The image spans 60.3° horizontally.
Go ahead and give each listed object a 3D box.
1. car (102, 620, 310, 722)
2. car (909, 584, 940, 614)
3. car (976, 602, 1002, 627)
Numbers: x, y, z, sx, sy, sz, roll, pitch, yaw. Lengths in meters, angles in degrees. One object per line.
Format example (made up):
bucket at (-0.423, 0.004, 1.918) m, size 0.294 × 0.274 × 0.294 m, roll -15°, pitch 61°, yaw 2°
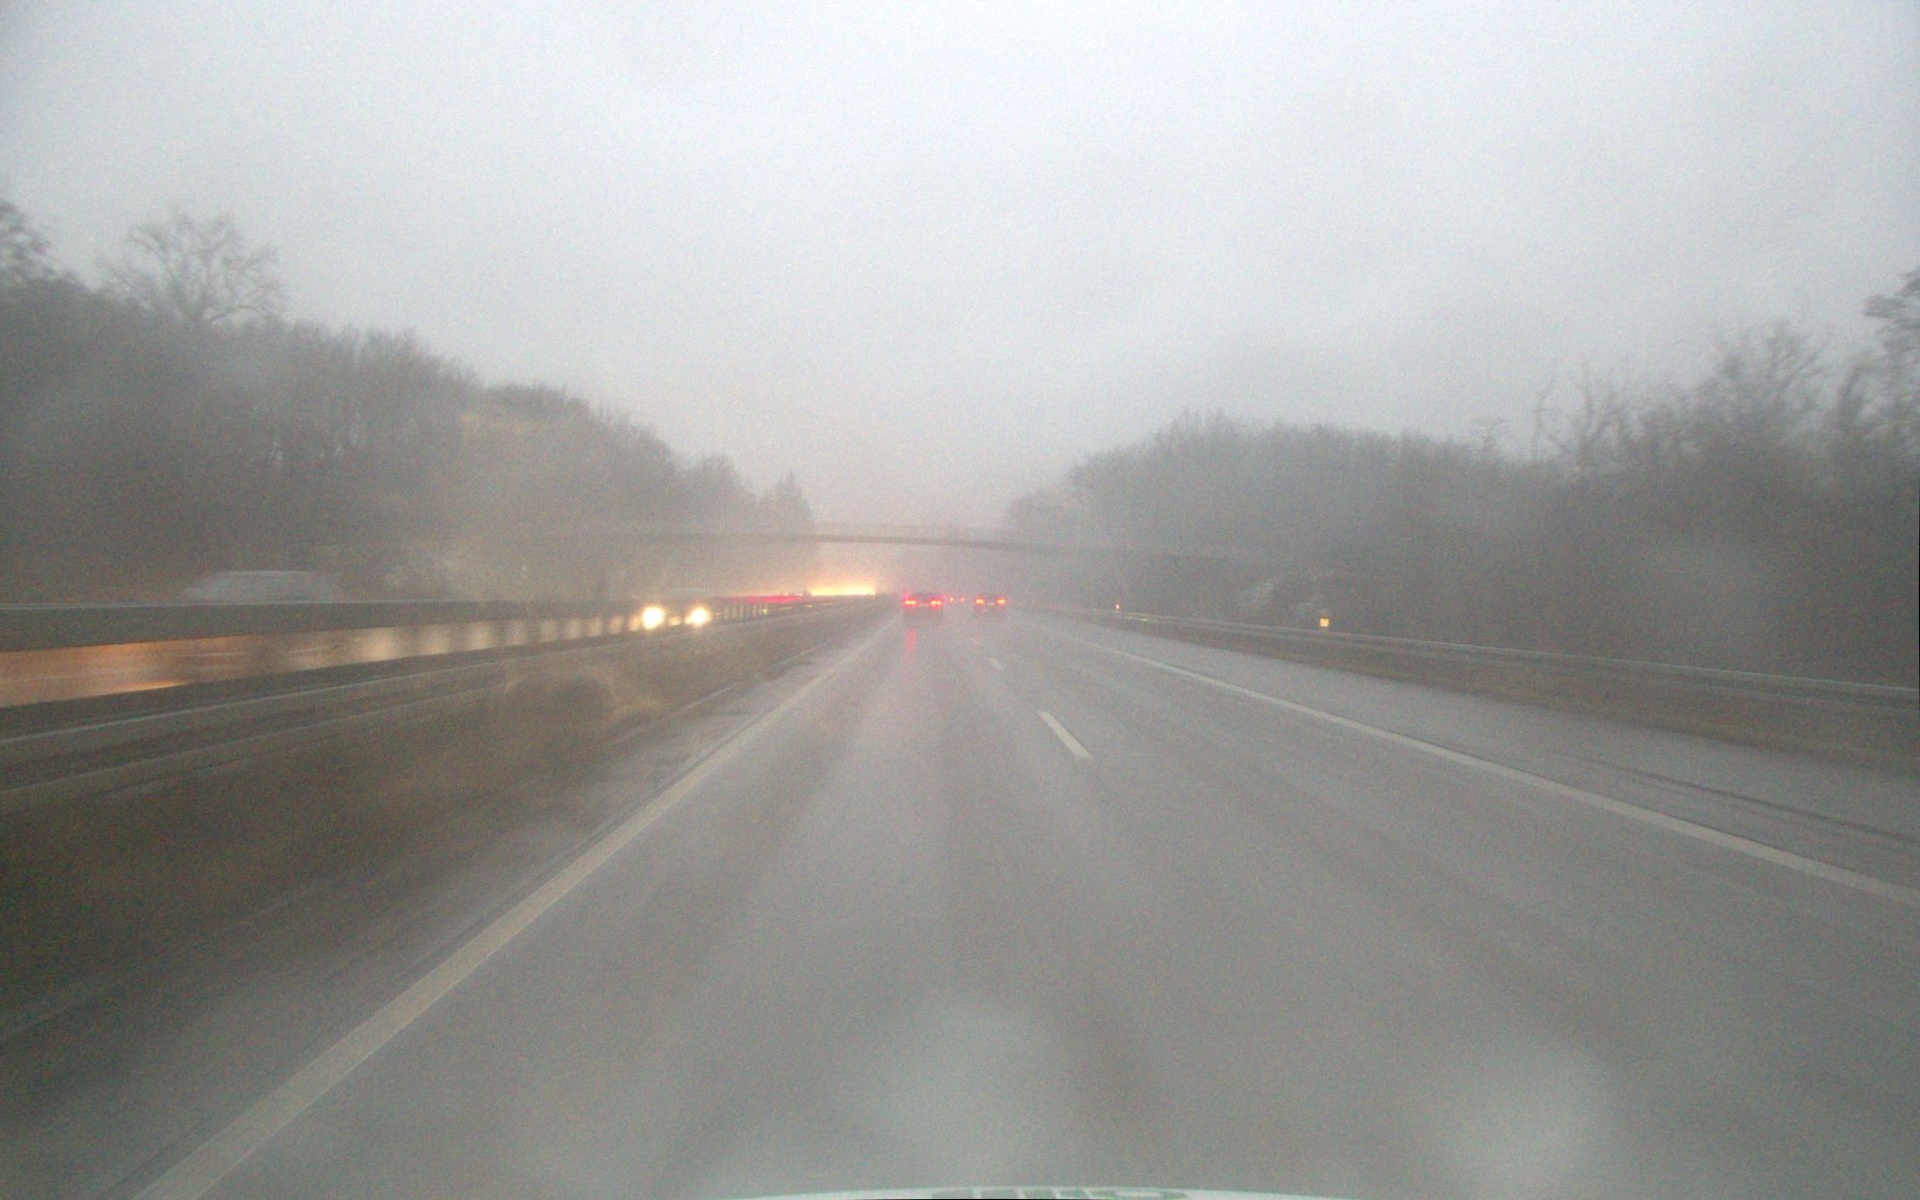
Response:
car at (-11.779, 1.059, 26.127) m, size 1.468 × 1.421 × 4.053 m, roll 0°, pitch 0°, yaw -1°
car at (-1.656, -0.056, 77.669) m, size 1.424 × 1.367 × 3.489 m, roll 1°, pitch 0°, yaw -1°
car at (1.695, 0.846, 97.693) m, size 1.424 × 1.454 × 3.489 m, roll 1°, pitch 0°, yaw -1°
